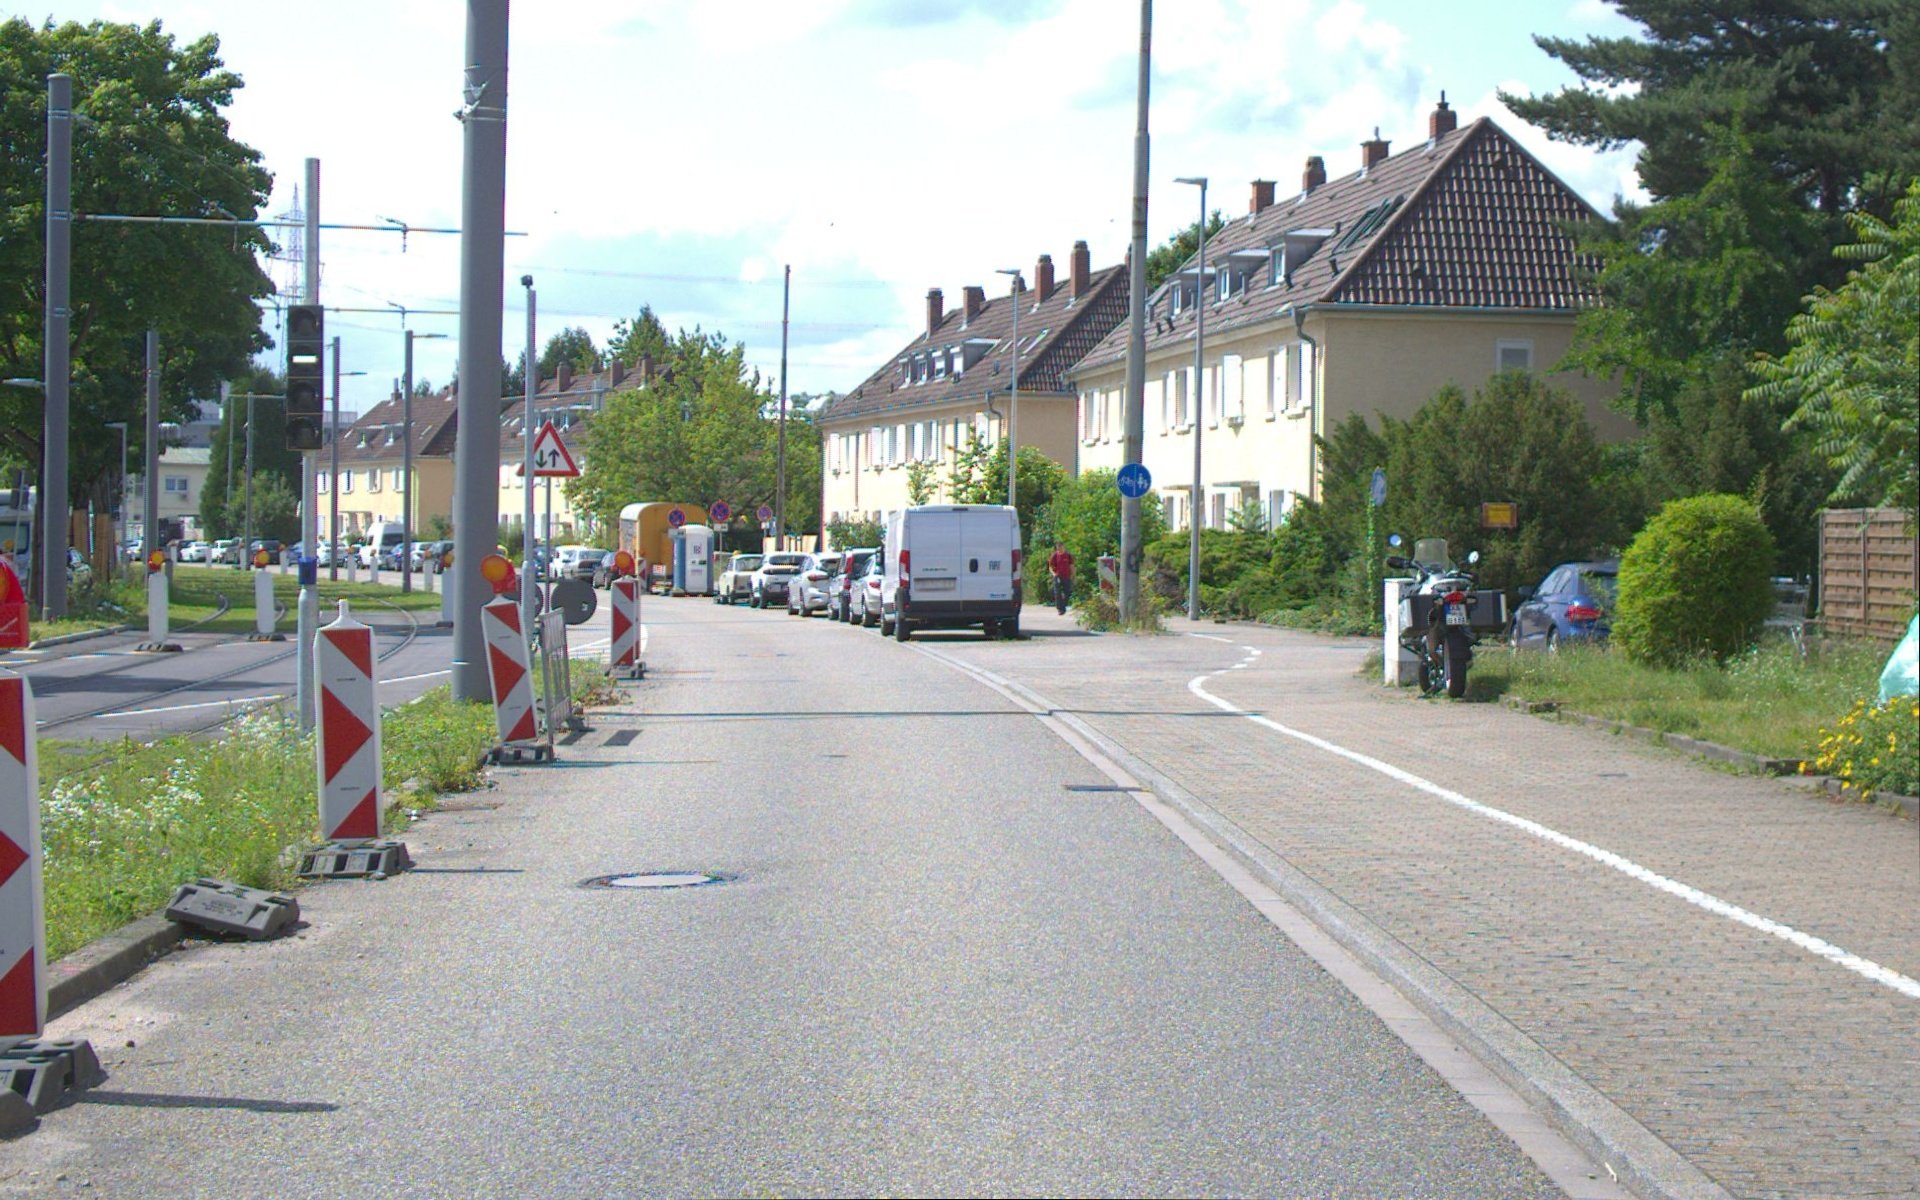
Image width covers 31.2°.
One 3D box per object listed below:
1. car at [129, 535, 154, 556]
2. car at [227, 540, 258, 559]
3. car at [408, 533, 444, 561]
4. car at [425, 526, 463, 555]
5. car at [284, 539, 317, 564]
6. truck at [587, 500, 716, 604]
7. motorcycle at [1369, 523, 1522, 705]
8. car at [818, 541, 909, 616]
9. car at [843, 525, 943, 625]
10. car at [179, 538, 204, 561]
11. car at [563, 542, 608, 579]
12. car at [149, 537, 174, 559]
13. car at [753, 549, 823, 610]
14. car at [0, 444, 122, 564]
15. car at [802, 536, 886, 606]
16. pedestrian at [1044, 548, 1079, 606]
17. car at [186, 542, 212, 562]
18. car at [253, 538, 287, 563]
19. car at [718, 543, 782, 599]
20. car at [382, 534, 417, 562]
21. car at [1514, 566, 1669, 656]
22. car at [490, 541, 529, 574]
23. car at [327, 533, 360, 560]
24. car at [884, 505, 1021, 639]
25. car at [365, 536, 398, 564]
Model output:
[{"bbox_3d":[-55.376,-3.682,232.649,1.257,1.421,2.666,0,1,-21],"label":"car"},{"bbox_3d":[-43.335,-3.071,207.554,1.257,1.138,2.666,0,1,-24],"label":"car"},{"bbox_3d":[-26.244,-2.593,168.852,1.257,1.346,2.666,0,1,-20],"label":"car"},{"bbox_3d":[-24.766,-2.862,164.977,1.257,1.346,2.666,0,1,-20],"label":"car"},{"bbox_3d":[-37.412,-2.759,194.872,1.257,1.421,2.666,0,1,-24],"label":"car"},{"bbox_3d":[-10.885,-1.686,120.400,2.639,3.482,9.441,1,1,-17],"label":"truck"},{"bbox_3d":[4.516,0.108,32.122,1.066,1.630,2.084,1,1,-1],"label":"motorcycle"},{"bbox_3d":[-2.078,-0.475,73.156,1.567,1.546,3.790,1,1,-7],"label":"car"},{"bbox_3d":[-1.350,-0.510,67.732,1.567,1.891,3.790,1,1,-7],"label":"car"},{"bbox_3d":[-49.465,-3.259,221.146,1.257,1.421,2.666,0,1,-19],"label":"car"},{"bbox_3d":[-14.465,-1.535,132.717,1.257,1.421,2.666,1,1,-17],"label":"car"},{"bbox_3d":[-52.466,-3.422,225.829,1.257,1.421,2.666,0,1,-21],"label":"car"},{"bbox_3d":[-4.540,-0.552,90.341,1.567,1.546,3.479,1,1,-7],"label":"car"},{"bbox_3d":[-18.678,-1.983,70.940,2.406,2.362,4.881,1,1,-10],"label":"car"},{"bbox_3d":[-2.679,-0.668,78.579,1.567,1.546,3.790,1,1,-7],"label":"car"},{"bbox_3d":[2.237,-0.510,75.518,0.632,1.250,0.727,1,1,-9],"label":"pedestrian"},{"bbox_3d":[-47.971,-3.024,216.759,1.257,1.182,2.666,0,1,-19],"label":"car"},{"bbox_3d":[-40.559,-2.908,201.976,1.257,1.421,2.666,0,1,-28],"label":"car"},{"bbox_3d":[-5.928,-0.830,96.857,1.567,1.546,3.479,1,1,-7],"label":"car"},{"bbox_3d":[-28.230,-2.621,173.105,1.165,1.421,2.666,0,1,-21],"label":"car"},{"bbox_3d":[7.667,0.116,41.914,1.311,1.026,2.769,1,1,-1],"label":"car"},{"bbox_3d":[-20.106,-1.909,153.381,1.257,1.421,2.666,1,1,-18],"label":"car"},{"bbox_3d":[-33.701,-2.921,187.997,1.257,1.421,2.666,0,1,-22],"label":"car"},{"bbox_3d":[-0.174,-0.488,58.163,2.065,2.142,4.879,1,1,-3],"label":"car"},{"bbox_3d":[-29.809,-2.583,177.238,1.165,1.421,2.666,0,1,-21],"label":"car"}]
